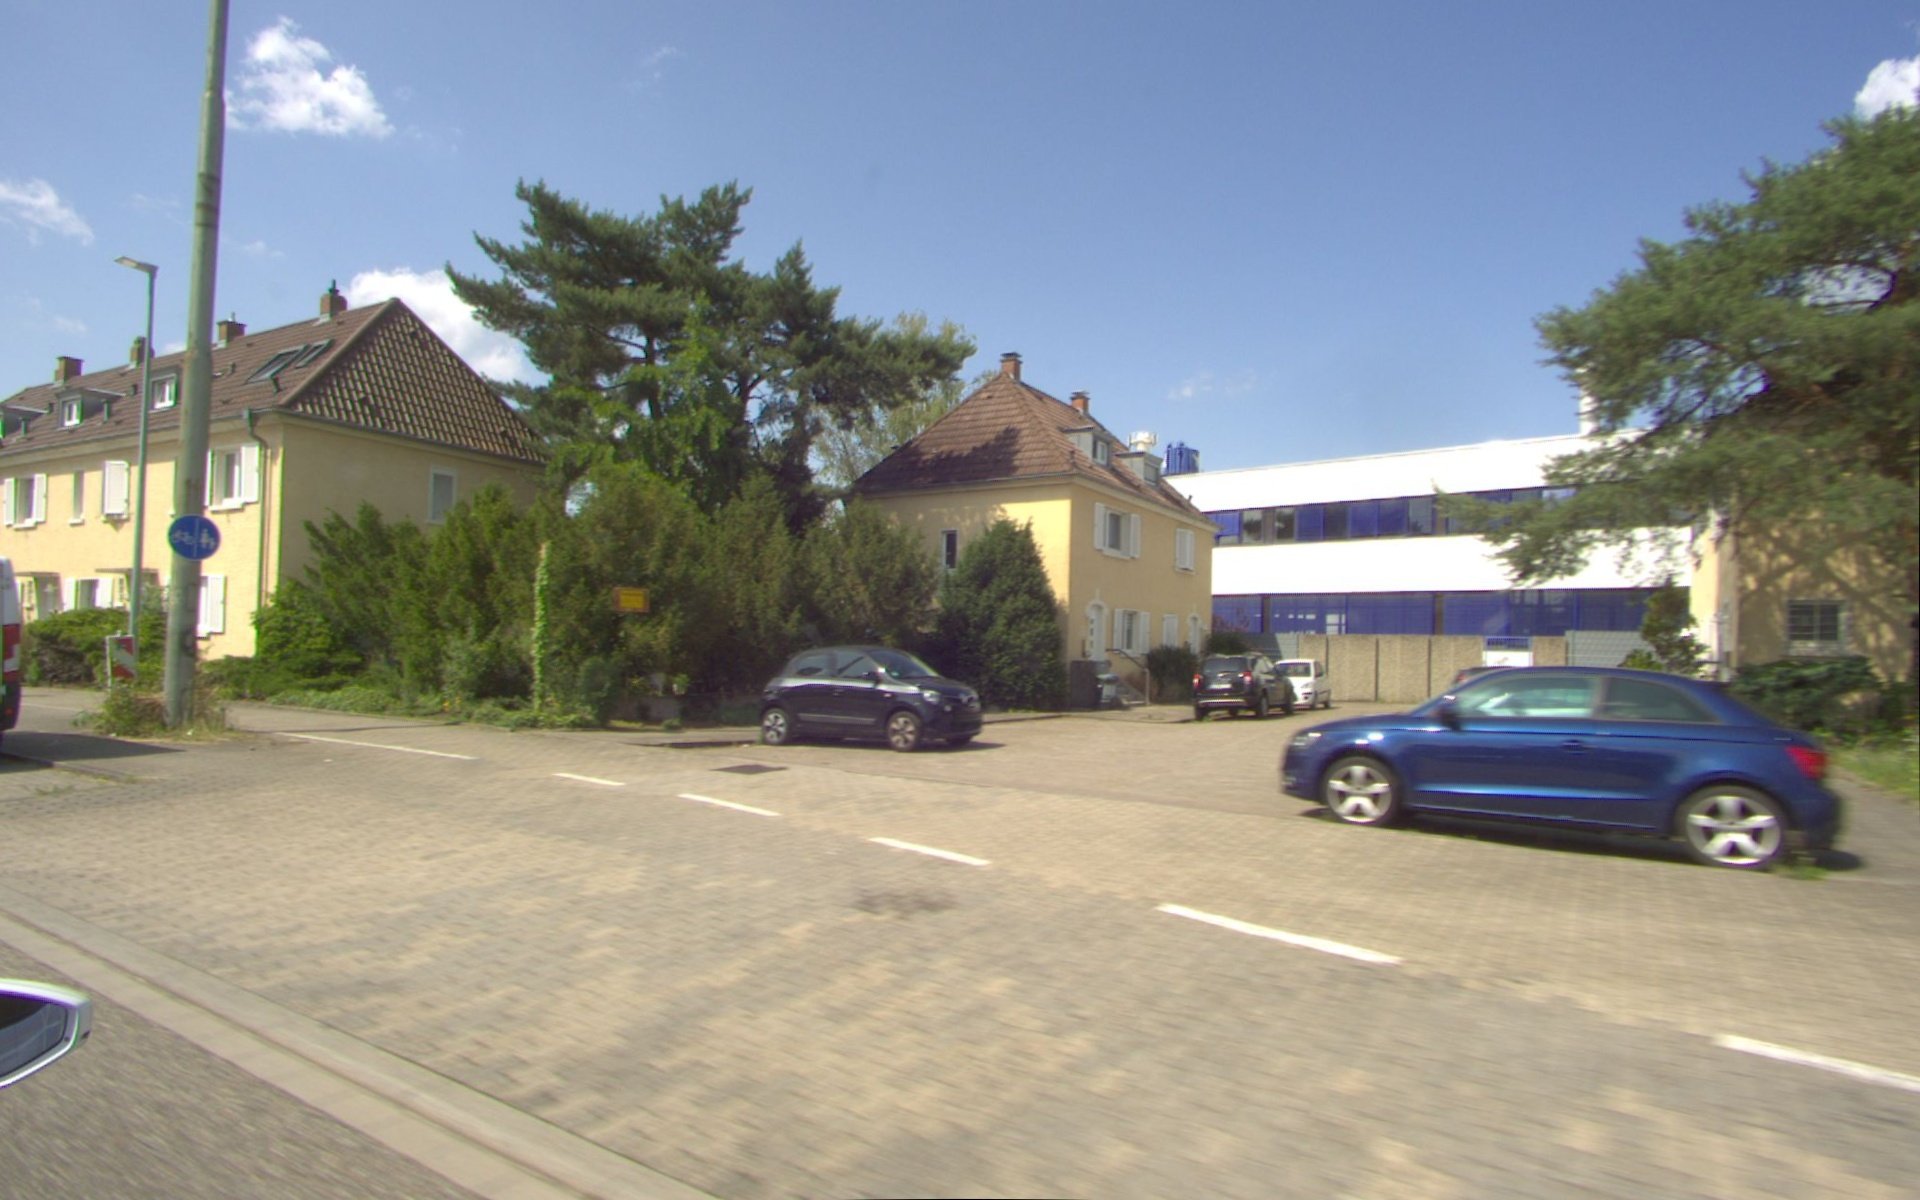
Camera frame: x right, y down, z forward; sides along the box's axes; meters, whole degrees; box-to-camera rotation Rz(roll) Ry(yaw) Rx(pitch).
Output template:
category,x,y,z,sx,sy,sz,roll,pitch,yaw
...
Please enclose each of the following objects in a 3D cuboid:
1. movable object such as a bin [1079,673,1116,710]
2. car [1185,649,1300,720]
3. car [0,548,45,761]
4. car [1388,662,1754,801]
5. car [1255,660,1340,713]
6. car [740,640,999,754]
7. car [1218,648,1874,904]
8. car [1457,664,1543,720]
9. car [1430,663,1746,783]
category,x,y,z,sx,sy,sz,roll,pitch,yaw
movable object such as a bin,3.681,2.435,26.771,0.730,0.925,0.698,0,-3,35
car,7.488,2.215,26.326,1.711,1.708,4.105,-4,-5,33
car,-13.022,0.556,11.394,6.277,2.210,2.273,0,-2,33
car,7.829,1.618,13.165,3.874,1.415,1.559,1,-2,30
car,10.485,2.639,30.924,1.731,1.500,4.109,-5,-5,29
car,-1.428,1.430,15.531,3.753,1.566,1.627,-1,-4,30
car,4.459,1.212,8.178,4.231,1.398,1.636,1,-3,36
car,16.472,2.736,30.448,1.710,1.405,4.273,3,-1,36
car,9.344,1.780,15.246,3.872,1.430,1.538,1,-1,28
